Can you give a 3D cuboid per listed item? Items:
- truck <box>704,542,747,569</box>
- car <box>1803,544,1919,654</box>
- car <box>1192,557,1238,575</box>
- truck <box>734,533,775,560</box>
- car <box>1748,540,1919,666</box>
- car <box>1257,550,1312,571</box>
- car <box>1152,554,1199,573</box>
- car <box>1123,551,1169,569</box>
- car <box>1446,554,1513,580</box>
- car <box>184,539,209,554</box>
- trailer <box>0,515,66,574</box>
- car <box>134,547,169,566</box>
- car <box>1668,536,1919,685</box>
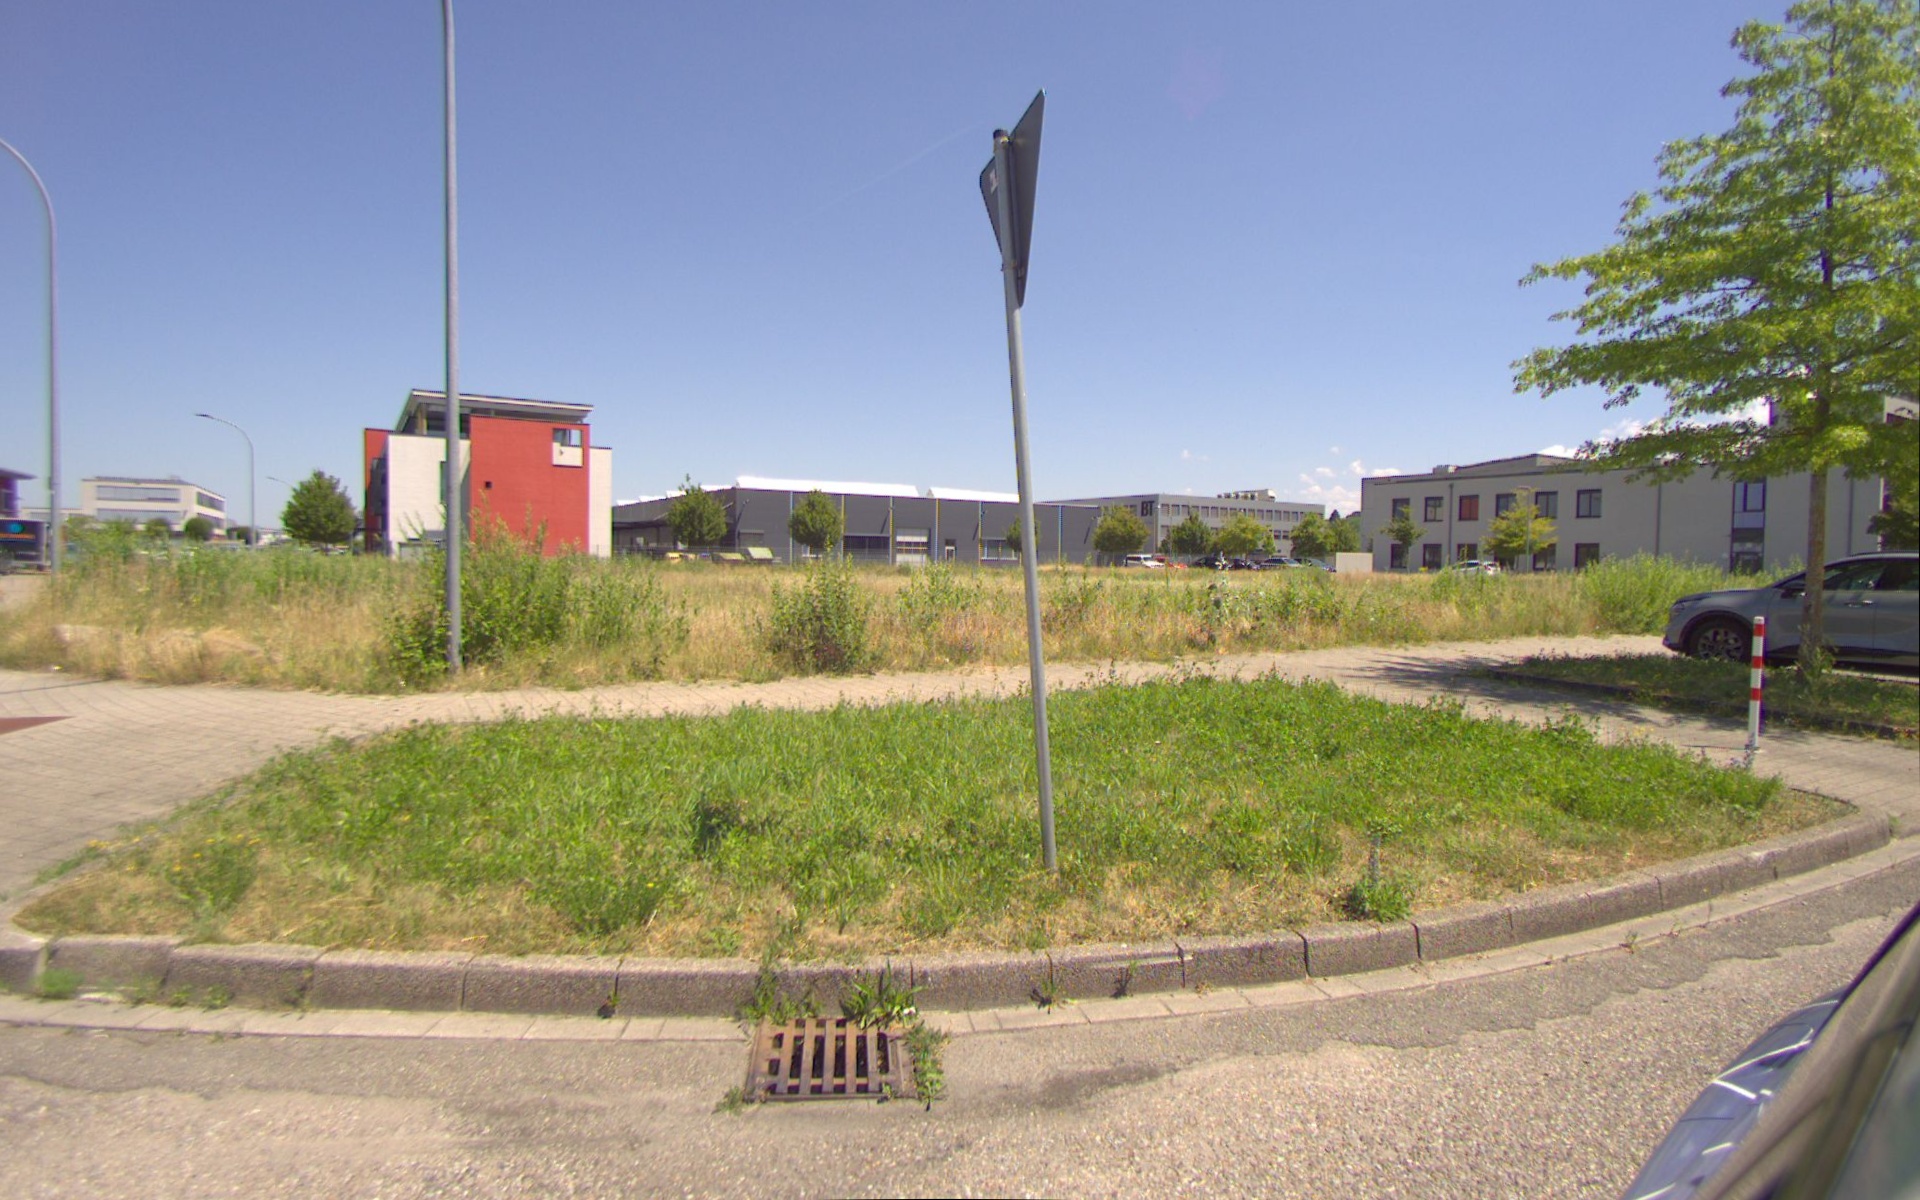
[{"bbox_3d":[-18.155,-3.456,78.310,1.960,2.038,4.362,-1,3,-31],"label":"truck"},{"bbox_3d":[15.556,0.008,15.152,1.863,1.627,4.088,-2,4,-30],"label":"car"},{"bbox_3d":[22.706,-3.059,90.235,1.685,1.528,4.006,-1,3,-30],"label":"car"},{"bbox_3d":[-16.252,-4.235,79.869,1.960,2.038,4.005,-1,3,-31],"label":"truck"},{"bbox_3d":[13.633,0.033,13.912,1.802,1.664,4.005,-1,4,-31],"label":"car"},{"bbox_3d":[25.767,-3.162,80.553,1.685,1.528,4.005,-1,3,-31],"label":"car"},{"bbox_3d":[18.641,-3.192,87.563,1.685,1.528,4.006,-1,3,-30],"label":"car"},{"bbox_3d":[15.911,-3.420,86.777,1.685,1.470,4.006,-1,3,-30],"label":"car"},{"bbox_3d":[32.939,-2.121,64.209,1.685,1.528,3.338,-1,3,-30],"label":"car"},{"bbox_3d":[-76.164,-5.323,100.968,1.645,1.401,3.646,1,2,-31],"label":"car"},{"bbox_3d":[-43.785,-2.580,47.407,2.189,2.631,4.004,0,3,-32],"label":"trailer"},{"bbox_3d":[-61.060,-3.296,76.470,1.645,1.401,3.646,1,2,-31],"label":"car"},{"bbox_3d":[11.505,0.094,12.322,1.814,1.663,4.300,-1,4,-30],"label":"car"}]
